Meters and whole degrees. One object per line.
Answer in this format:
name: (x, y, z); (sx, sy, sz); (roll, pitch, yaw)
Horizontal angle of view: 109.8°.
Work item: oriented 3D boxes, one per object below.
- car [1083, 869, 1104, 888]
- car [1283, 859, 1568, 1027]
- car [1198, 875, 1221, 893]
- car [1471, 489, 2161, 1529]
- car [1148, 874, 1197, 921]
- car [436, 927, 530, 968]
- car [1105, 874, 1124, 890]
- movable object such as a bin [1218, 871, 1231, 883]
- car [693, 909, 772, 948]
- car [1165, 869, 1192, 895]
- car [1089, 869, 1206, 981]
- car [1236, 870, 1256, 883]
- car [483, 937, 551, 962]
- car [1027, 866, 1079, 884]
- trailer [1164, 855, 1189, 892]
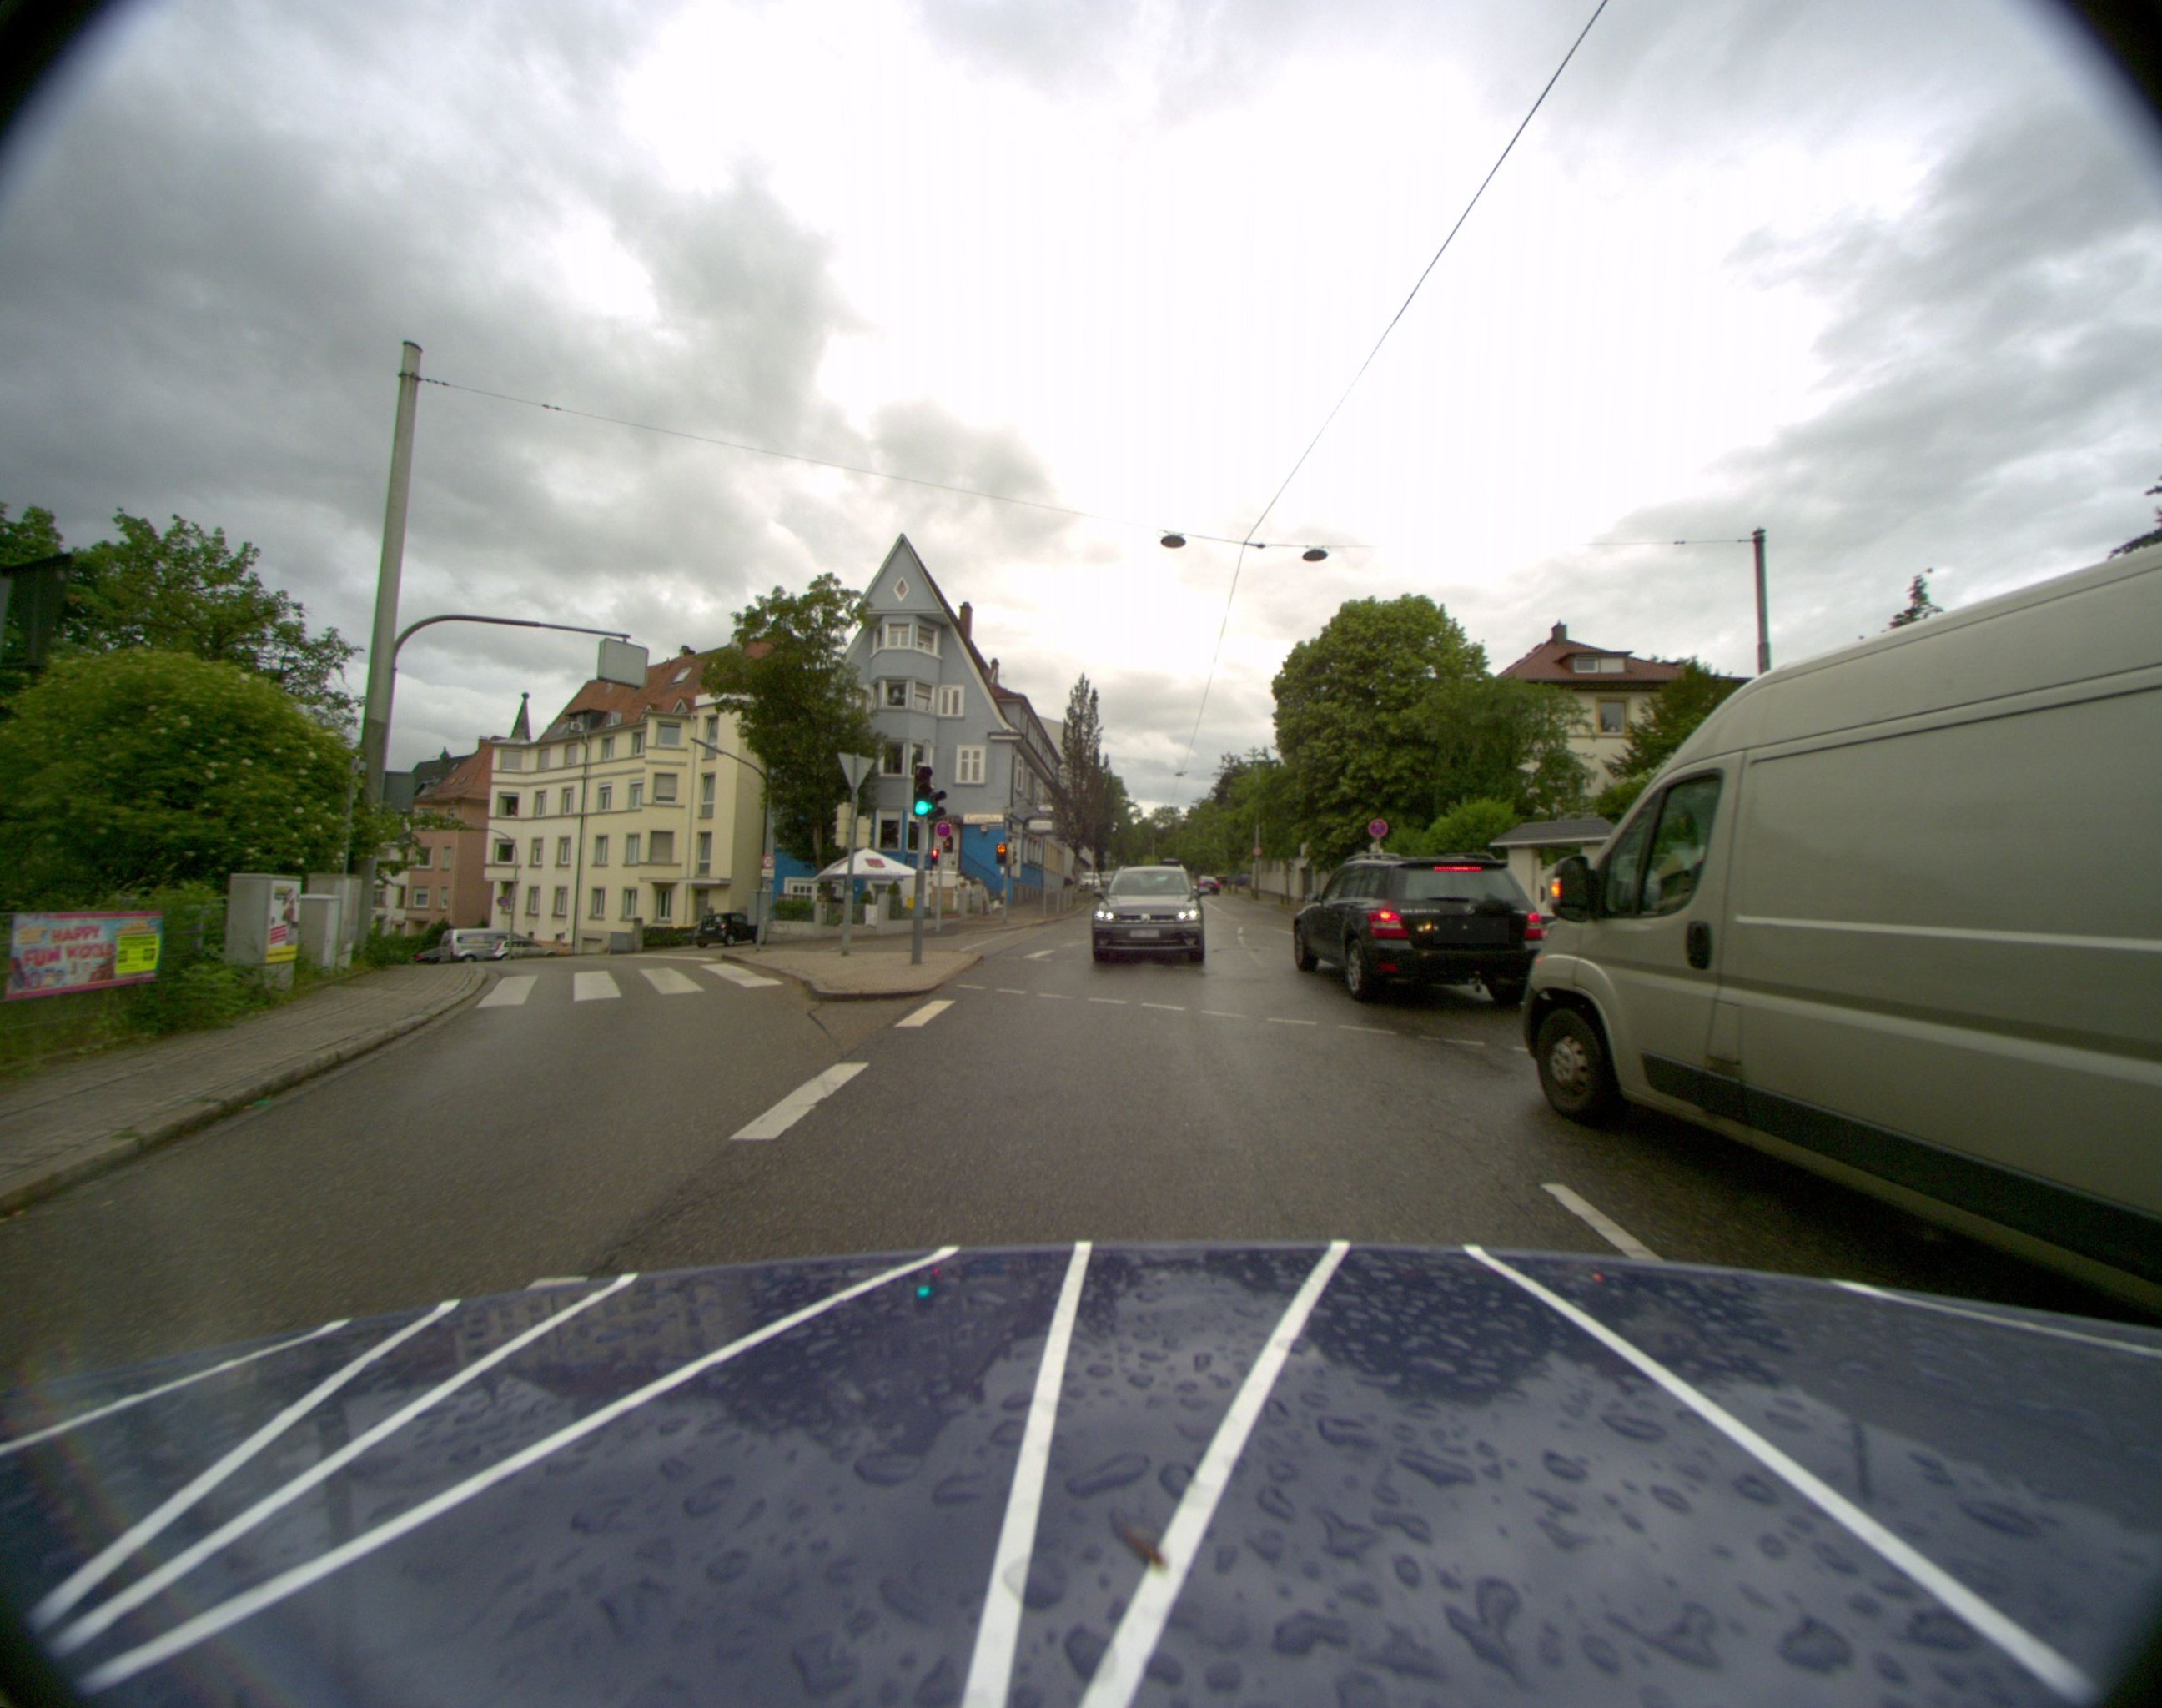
car: (1.050, 1.952, 61.458); (1.590, 1.403, 3.457); (2, -1, 1)
car: (3.942, 0.914, 9.619); (1.825, 1.642, 4.348); (0, -1, 3)
car: (10.845, 2.502, 64.136); (1.856, 1.477, 5.372); (1, -2, 9)
car: (3.726, 0.385, 2.546); (2.122, 2.531, 5.540); (1, 0, 2)
car: (3.638, 1.676, 30.507); (1.785, 1.631, 4.202); (1, 0, 6)
car: (-37.250, 5.780, 47.387); (1.938, 2.217, 4.186); (-10, -9, 32)
car: (3.350, 2.798, 76.031); (1.818, 1.451, 4.743); (1, 0, 3)
movable object such as a bin: (16.249, 2.569, 85.951); (1.226, 1.342, 1.123); (1, 0, -3)
car: (-16.193, 3.455, 35.479); (1.637, 1.488, 3.147); (-5, -3, 15)
car: (6.854, 1.960, 53.857); (1.735, 1.610, 3.476); (-1, 1, 5)
car: (1.302, 1.127, 13.843); (1.784, 1.631, 4.203); (1, 0, 8)
car: (20.419, 2.755, 93.998); (1.855, 1.482, 3.867); (-1, -1, 4)
car: (-34.497, 5.828, 46.545); (1.303, 1.395, 3.062); (-5, -7, 27)
car: (-2.453, 1.837, 66.760); (4.368, 1.399, 1.807); (-1, 0, -10)
trailer: (7.132, 1.428, 57.075); (1.770, 2.610, 3.034); (-1, 1, 5)
